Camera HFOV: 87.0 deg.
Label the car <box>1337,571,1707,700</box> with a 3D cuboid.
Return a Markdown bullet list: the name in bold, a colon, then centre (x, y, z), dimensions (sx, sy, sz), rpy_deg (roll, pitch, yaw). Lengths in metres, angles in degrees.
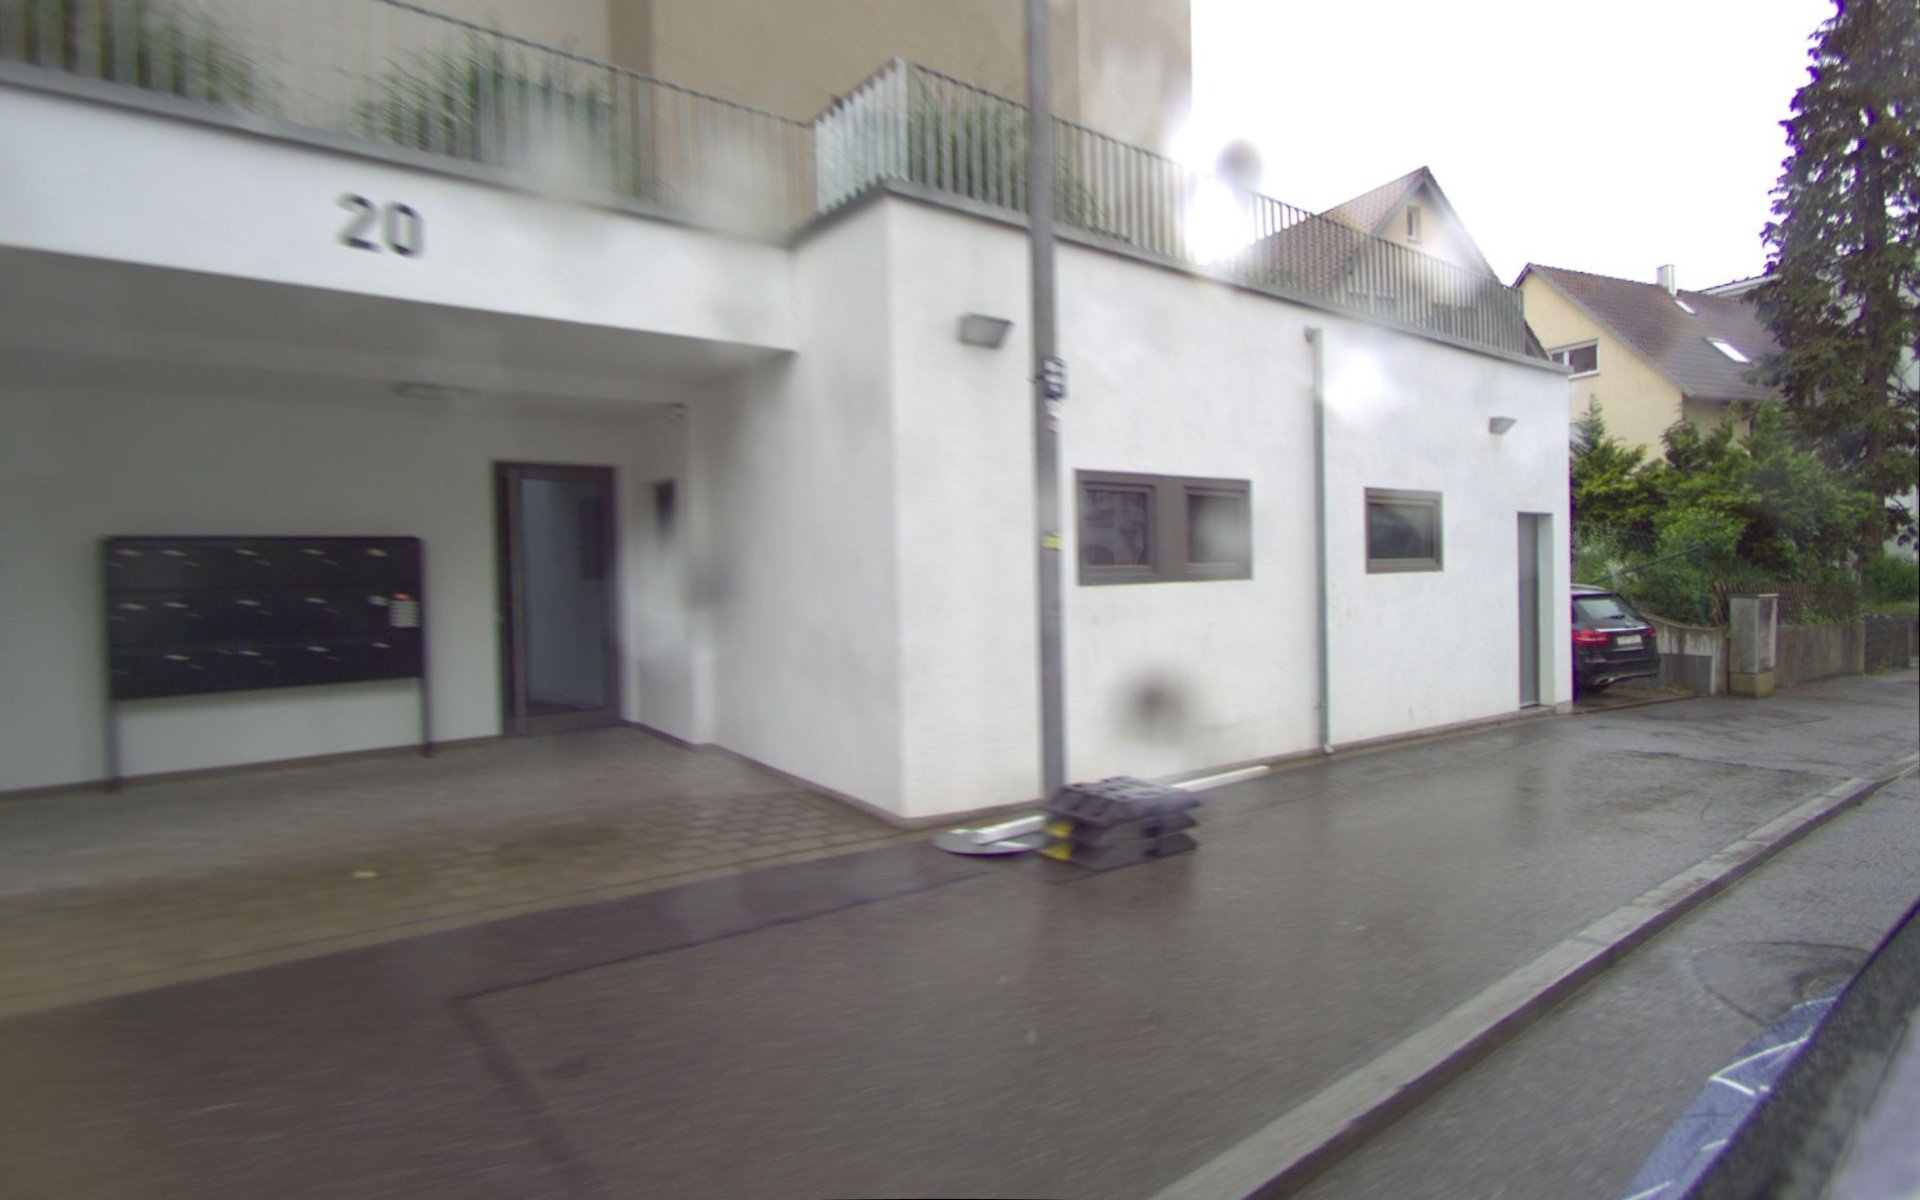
- **car**: centre (7.410, 0.371, 13.801), dimensions (1.959, 1.476, 4.007), rpy_deg (0, 1, -26)
